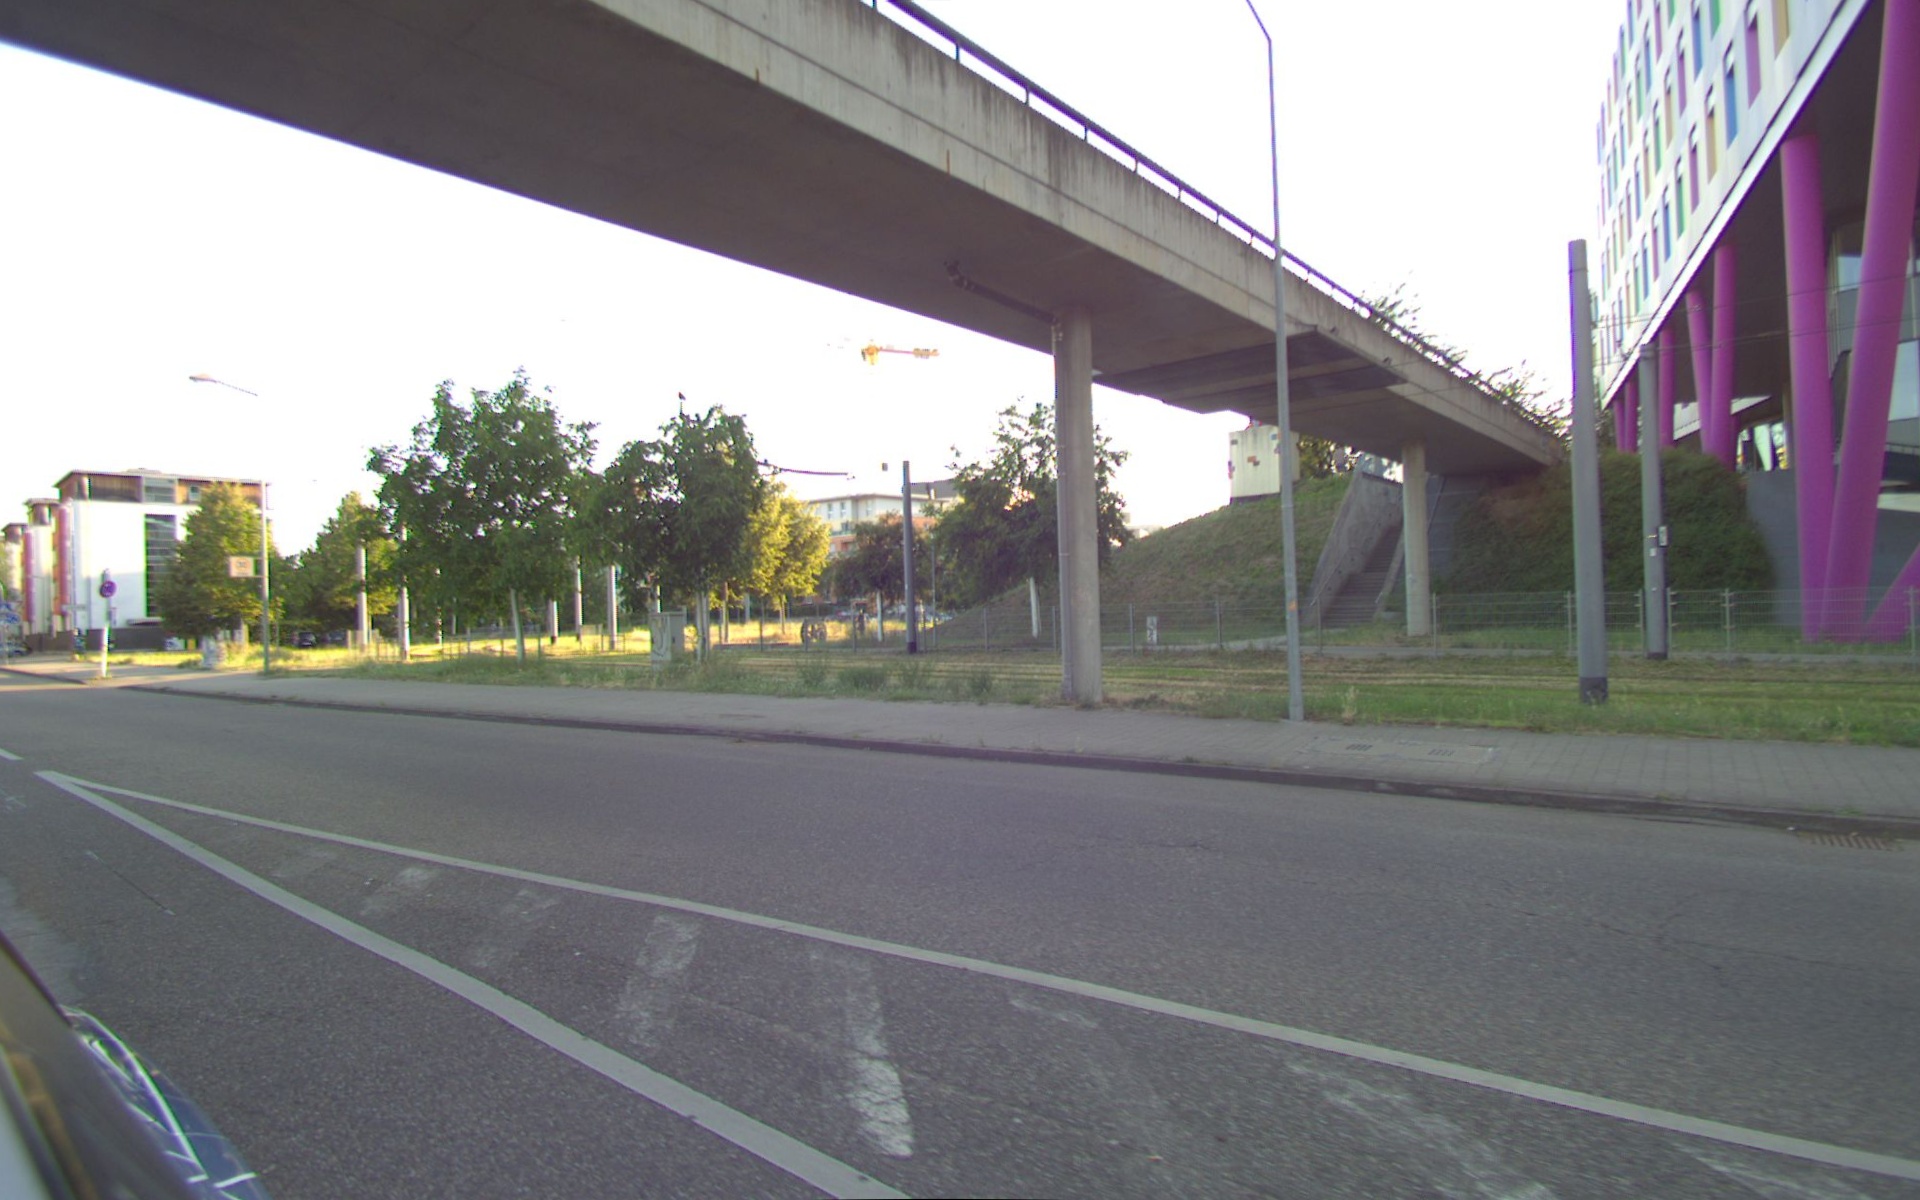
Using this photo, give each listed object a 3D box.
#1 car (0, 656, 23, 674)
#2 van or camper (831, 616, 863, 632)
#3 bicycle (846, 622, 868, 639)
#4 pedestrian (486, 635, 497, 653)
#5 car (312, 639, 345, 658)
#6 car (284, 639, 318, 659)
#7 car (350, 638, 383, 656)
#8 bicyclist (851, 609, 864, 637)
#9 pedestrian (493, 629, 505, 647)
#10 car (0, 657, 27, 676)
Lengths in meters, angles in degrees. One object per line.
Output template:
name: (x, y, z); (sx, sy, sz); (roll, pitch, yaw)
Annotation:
car: (-80.645, 5.388, 83.354); (1.709, 1.490, 4.852); (-4, -5, 40)
van or camper: (-13.773, 2.916, 122.949); (1.807, 1.707, 3.882); (-1, -2, -45)
bicycle: (-5.661, 1.677, 55.766); (0.431, 0.907, 1.219); (-4, -2, 41)
pedestrian: (-44.873, 4.210, 96.964); (0.648, 1.612, 0.712); (-3, 0, 5)
car: (-52.909, 4.055, 84.780); (3.412, 1.512, 1.571); (-3, -1, 45)
car: (-54.352, 4.070, 83.474); (3.412, 1.533, 1.666); (-3, -1, 44)
car: (-50.685, 4.014, 86.445); (3.412, 1.512, 1.571); (-3, -1, 45)
bicyclist: (-5.632, 1.284, 55.831); (0.424, 1.506, 0.507); (-4, -3, 43)
pedestrian: (-44.154, 3.672, 96.929); (0.616, 1.679, 0.743); (-3, 0, 3)
car: (-77.837, 5.317, 81.136); (1.679, 1.469, 4.236); (-4, -6, 40)
